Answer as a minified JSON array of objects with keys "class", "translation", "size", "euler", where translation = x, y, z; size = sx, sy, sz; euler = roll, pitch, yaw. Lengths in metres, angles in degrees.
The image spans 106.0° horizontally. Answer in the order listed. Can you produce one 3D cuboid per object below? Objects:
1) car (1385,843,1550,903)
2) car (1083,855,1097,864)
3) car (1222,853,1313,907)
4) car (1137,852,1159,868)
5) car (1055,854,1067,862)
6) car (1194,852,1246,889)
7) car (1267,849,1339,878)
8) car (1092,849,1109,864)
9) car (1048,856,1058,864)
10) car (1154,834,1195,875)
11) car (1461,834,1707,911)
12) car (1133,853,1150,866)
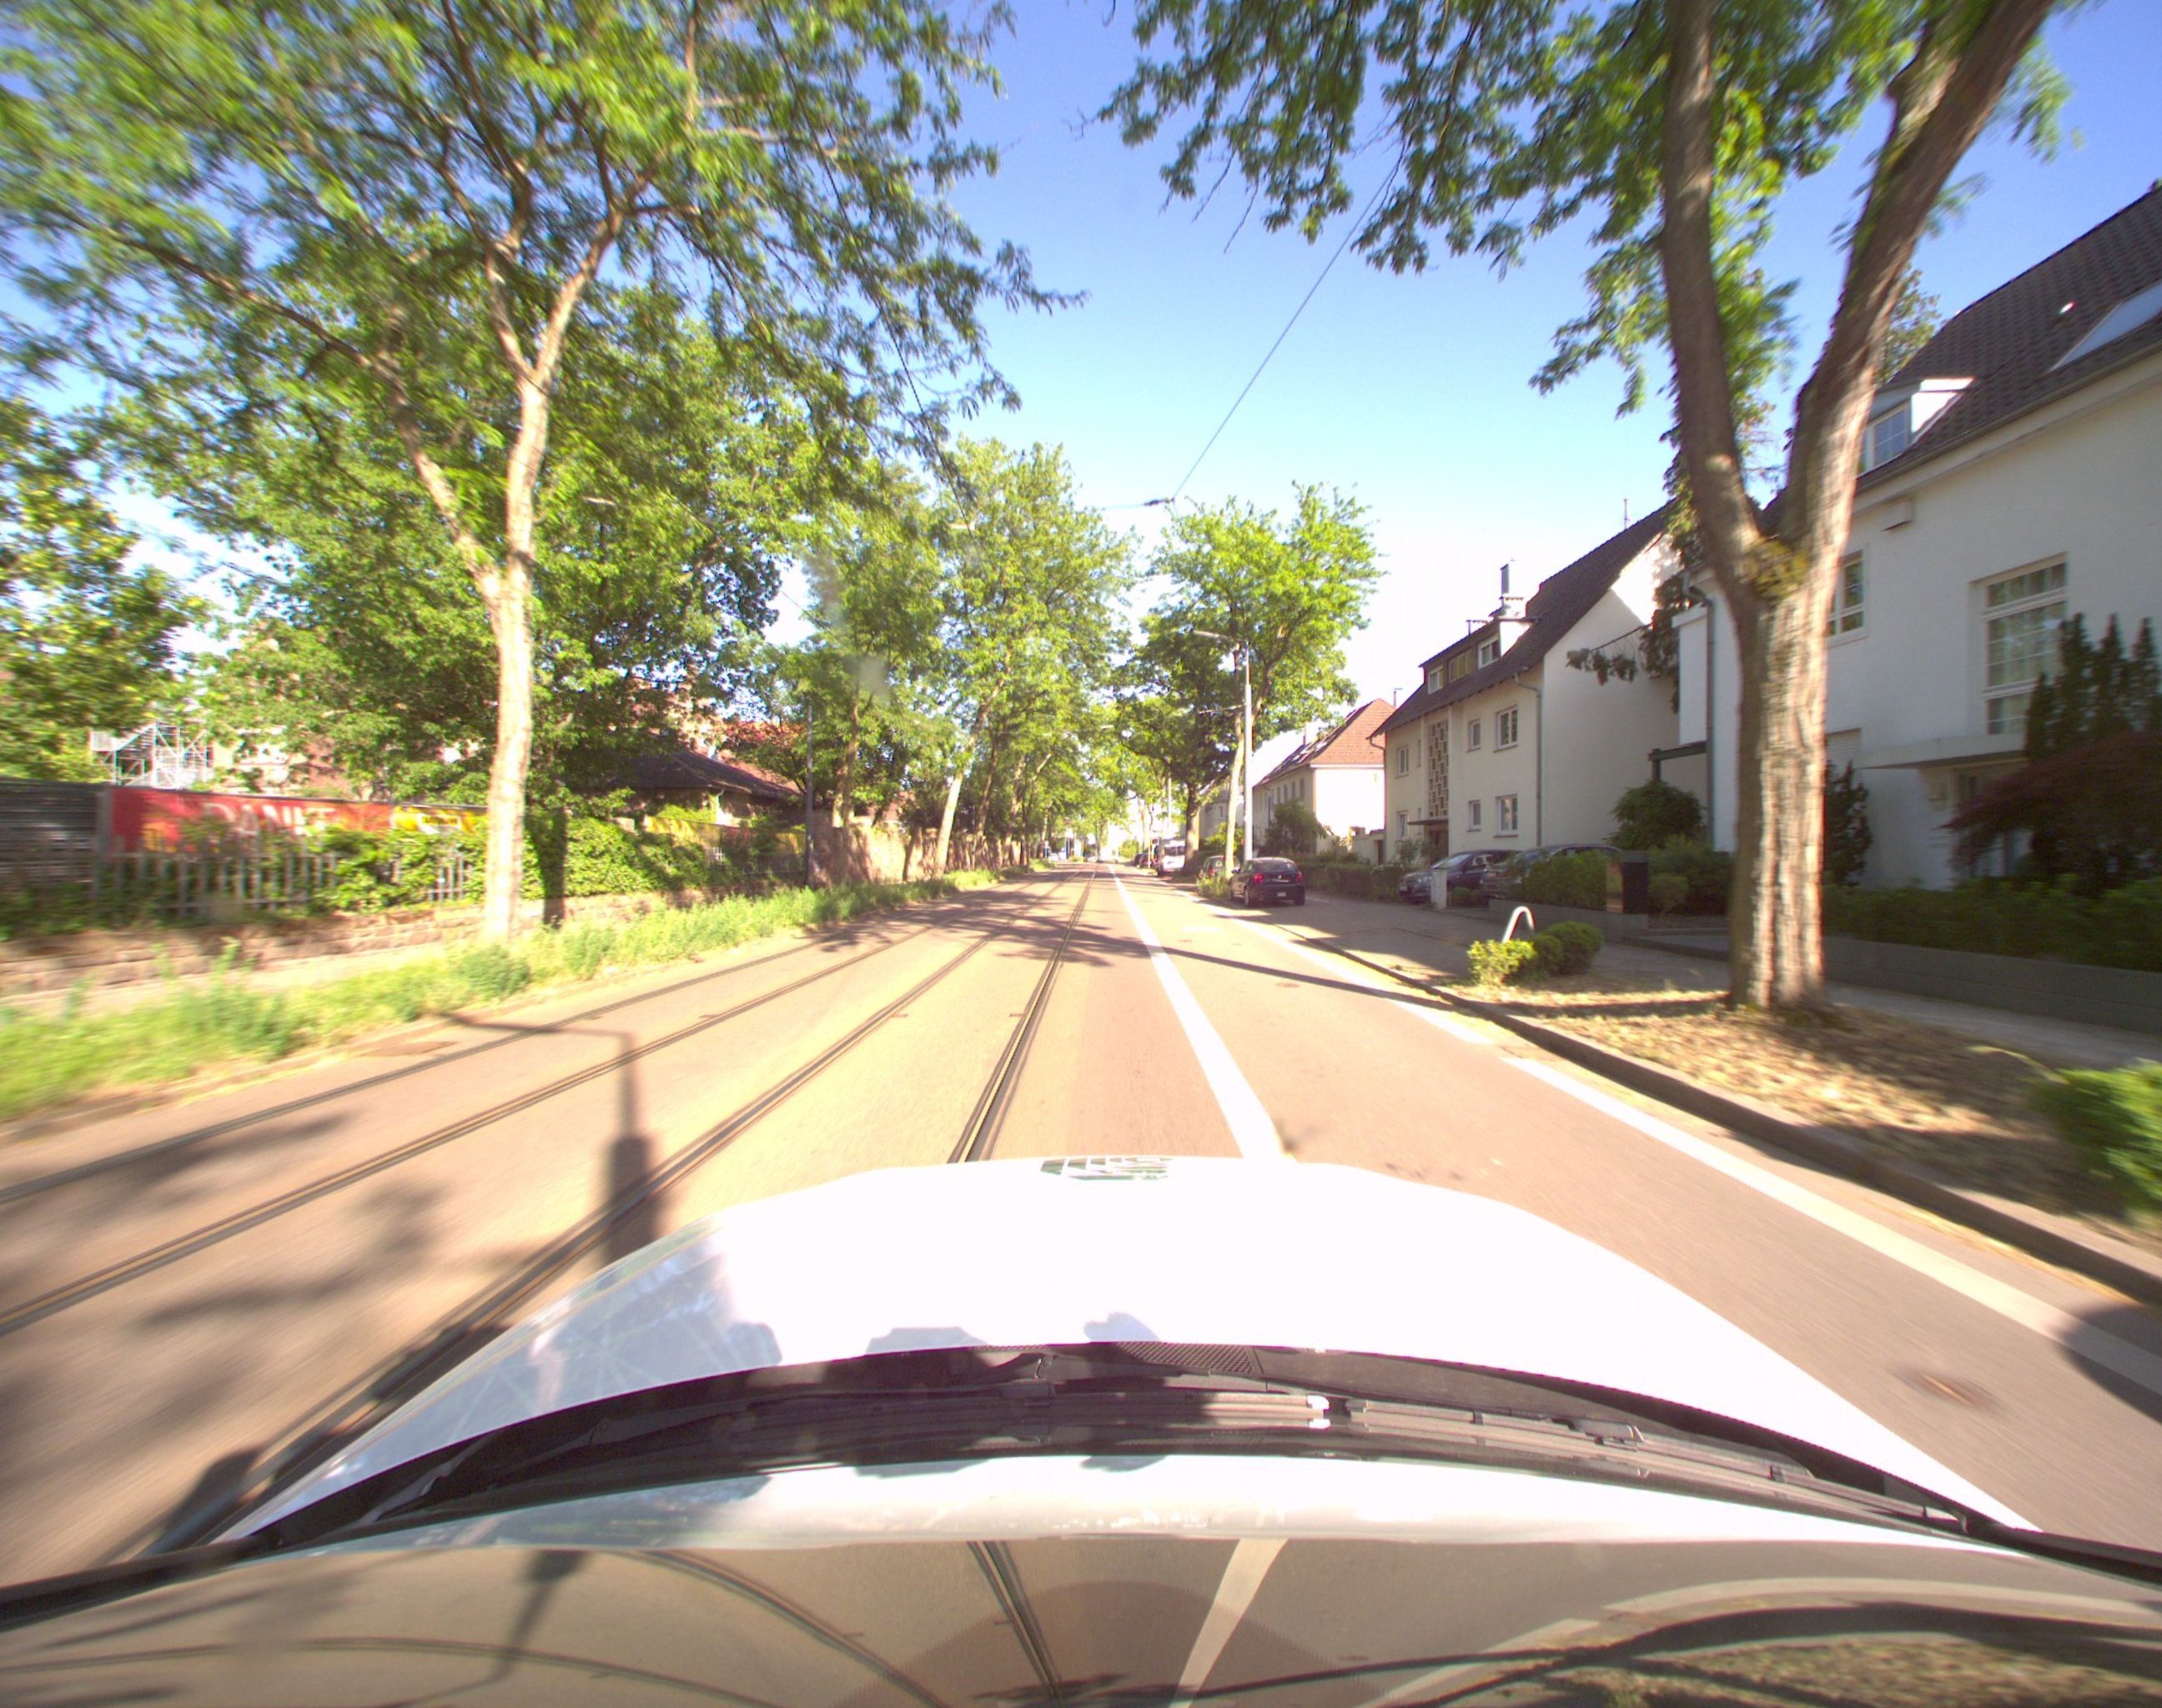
[{"class":"car","translation":[10.600,0.504,22.470],"size":[3.731,1.489,1.737],"euler":[-2,0,-4]},{"class":"car","translation":[1.794,1.079,159.927],"size":[2.003,1.560,4.376],"euler":[-1,0,-11]},{"class":"car","translation":[5.697,0.736,25.342],"size":[1.778,1.448,4.300],"euler":[-3,0,0]},{"class":"car","translation":[7.260,0.646,88.447],"size":[1.995,1.675,4.393],"euler":[-2,0,1]},{"class":"car","translation":[-5.229,1.035,209.994],"size":[2.007,1.910,4.368],"euler":[-2,0,-16]},{"class":"car","translation":[5.899,0.678,34.838],"size":[1.621,1.397,3.646],"euler":[-3,0,1]},{"class":"car","translation":[12.148,0.509,44.638],"size":[3.399,1.436,1.727],"euler":[-2,0,-12]},{"class":"car","translation":[3.421,0.413,141.936],"size":[1.995,2.458,4.491],"euler":[-1,0,-11]},{"class":"car","translation":[-6.081,1.373,175.632],"size":[1.864,1.675,4.163],"euler":[-1,0,-7]},{"class":"car","translation":[6.411,0.062,56.533],"size":[2.237,2.654,5.587],"euler":[-2,0,1]},{"class":"car","translation":[11.314,0.404,18.578],"size":[4.402,1.489,1.860],"euler":[-3,0,4]},{"class":"car","translation":[7.906,0.682,105.962],"size":[1.993,1.675,4.399],"euler":[-2,0,5]}]
